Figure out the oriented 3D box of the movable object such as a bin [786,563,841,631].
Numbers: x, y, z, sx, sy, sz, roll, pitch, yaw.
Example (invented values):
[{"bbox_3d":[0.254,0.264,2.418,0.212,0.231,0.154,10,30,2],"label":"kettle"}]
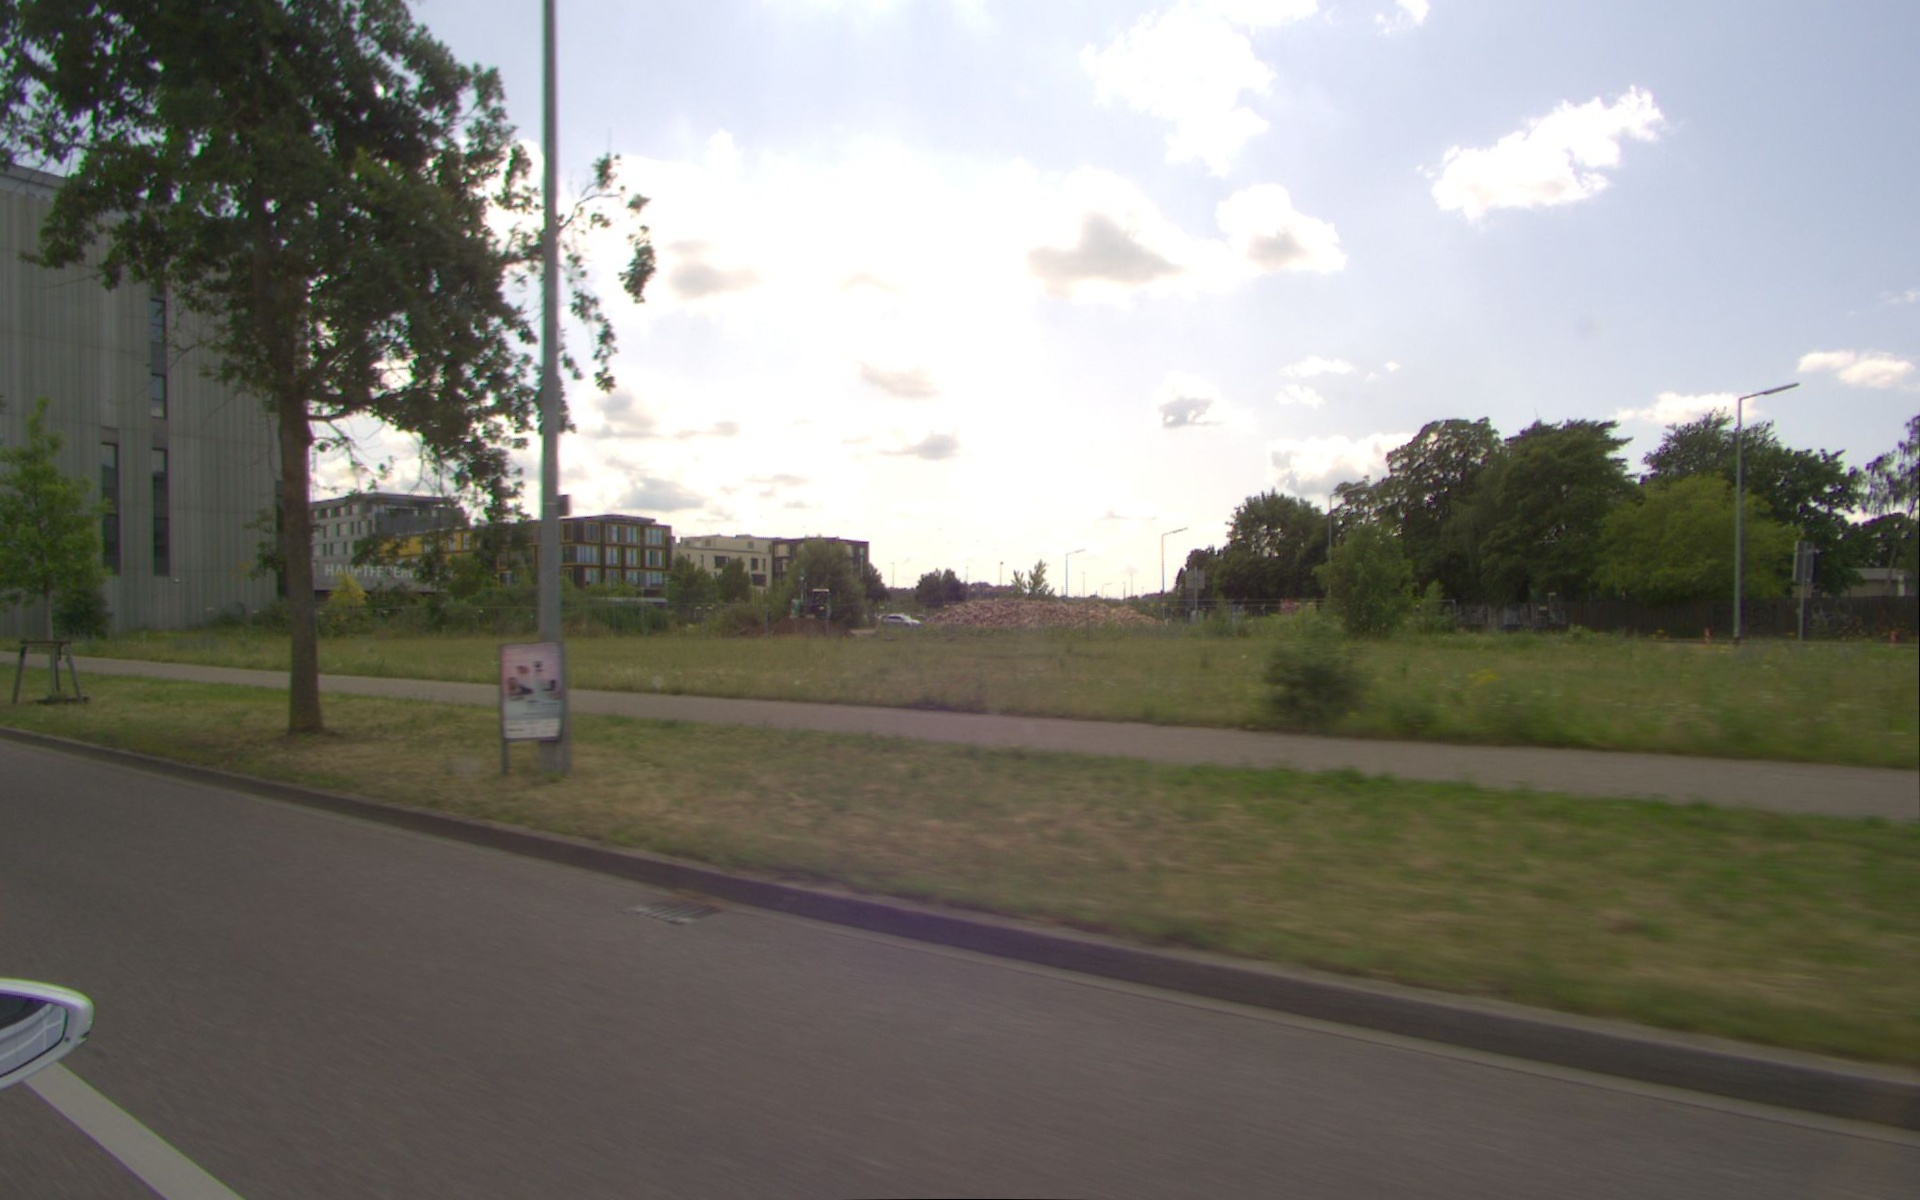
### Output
[{"bbox_3d":[-9.488,-0.078,64.202,2.993,3.900,7.614,0,-3,-12],"label":"movable object such as a bin"}]
